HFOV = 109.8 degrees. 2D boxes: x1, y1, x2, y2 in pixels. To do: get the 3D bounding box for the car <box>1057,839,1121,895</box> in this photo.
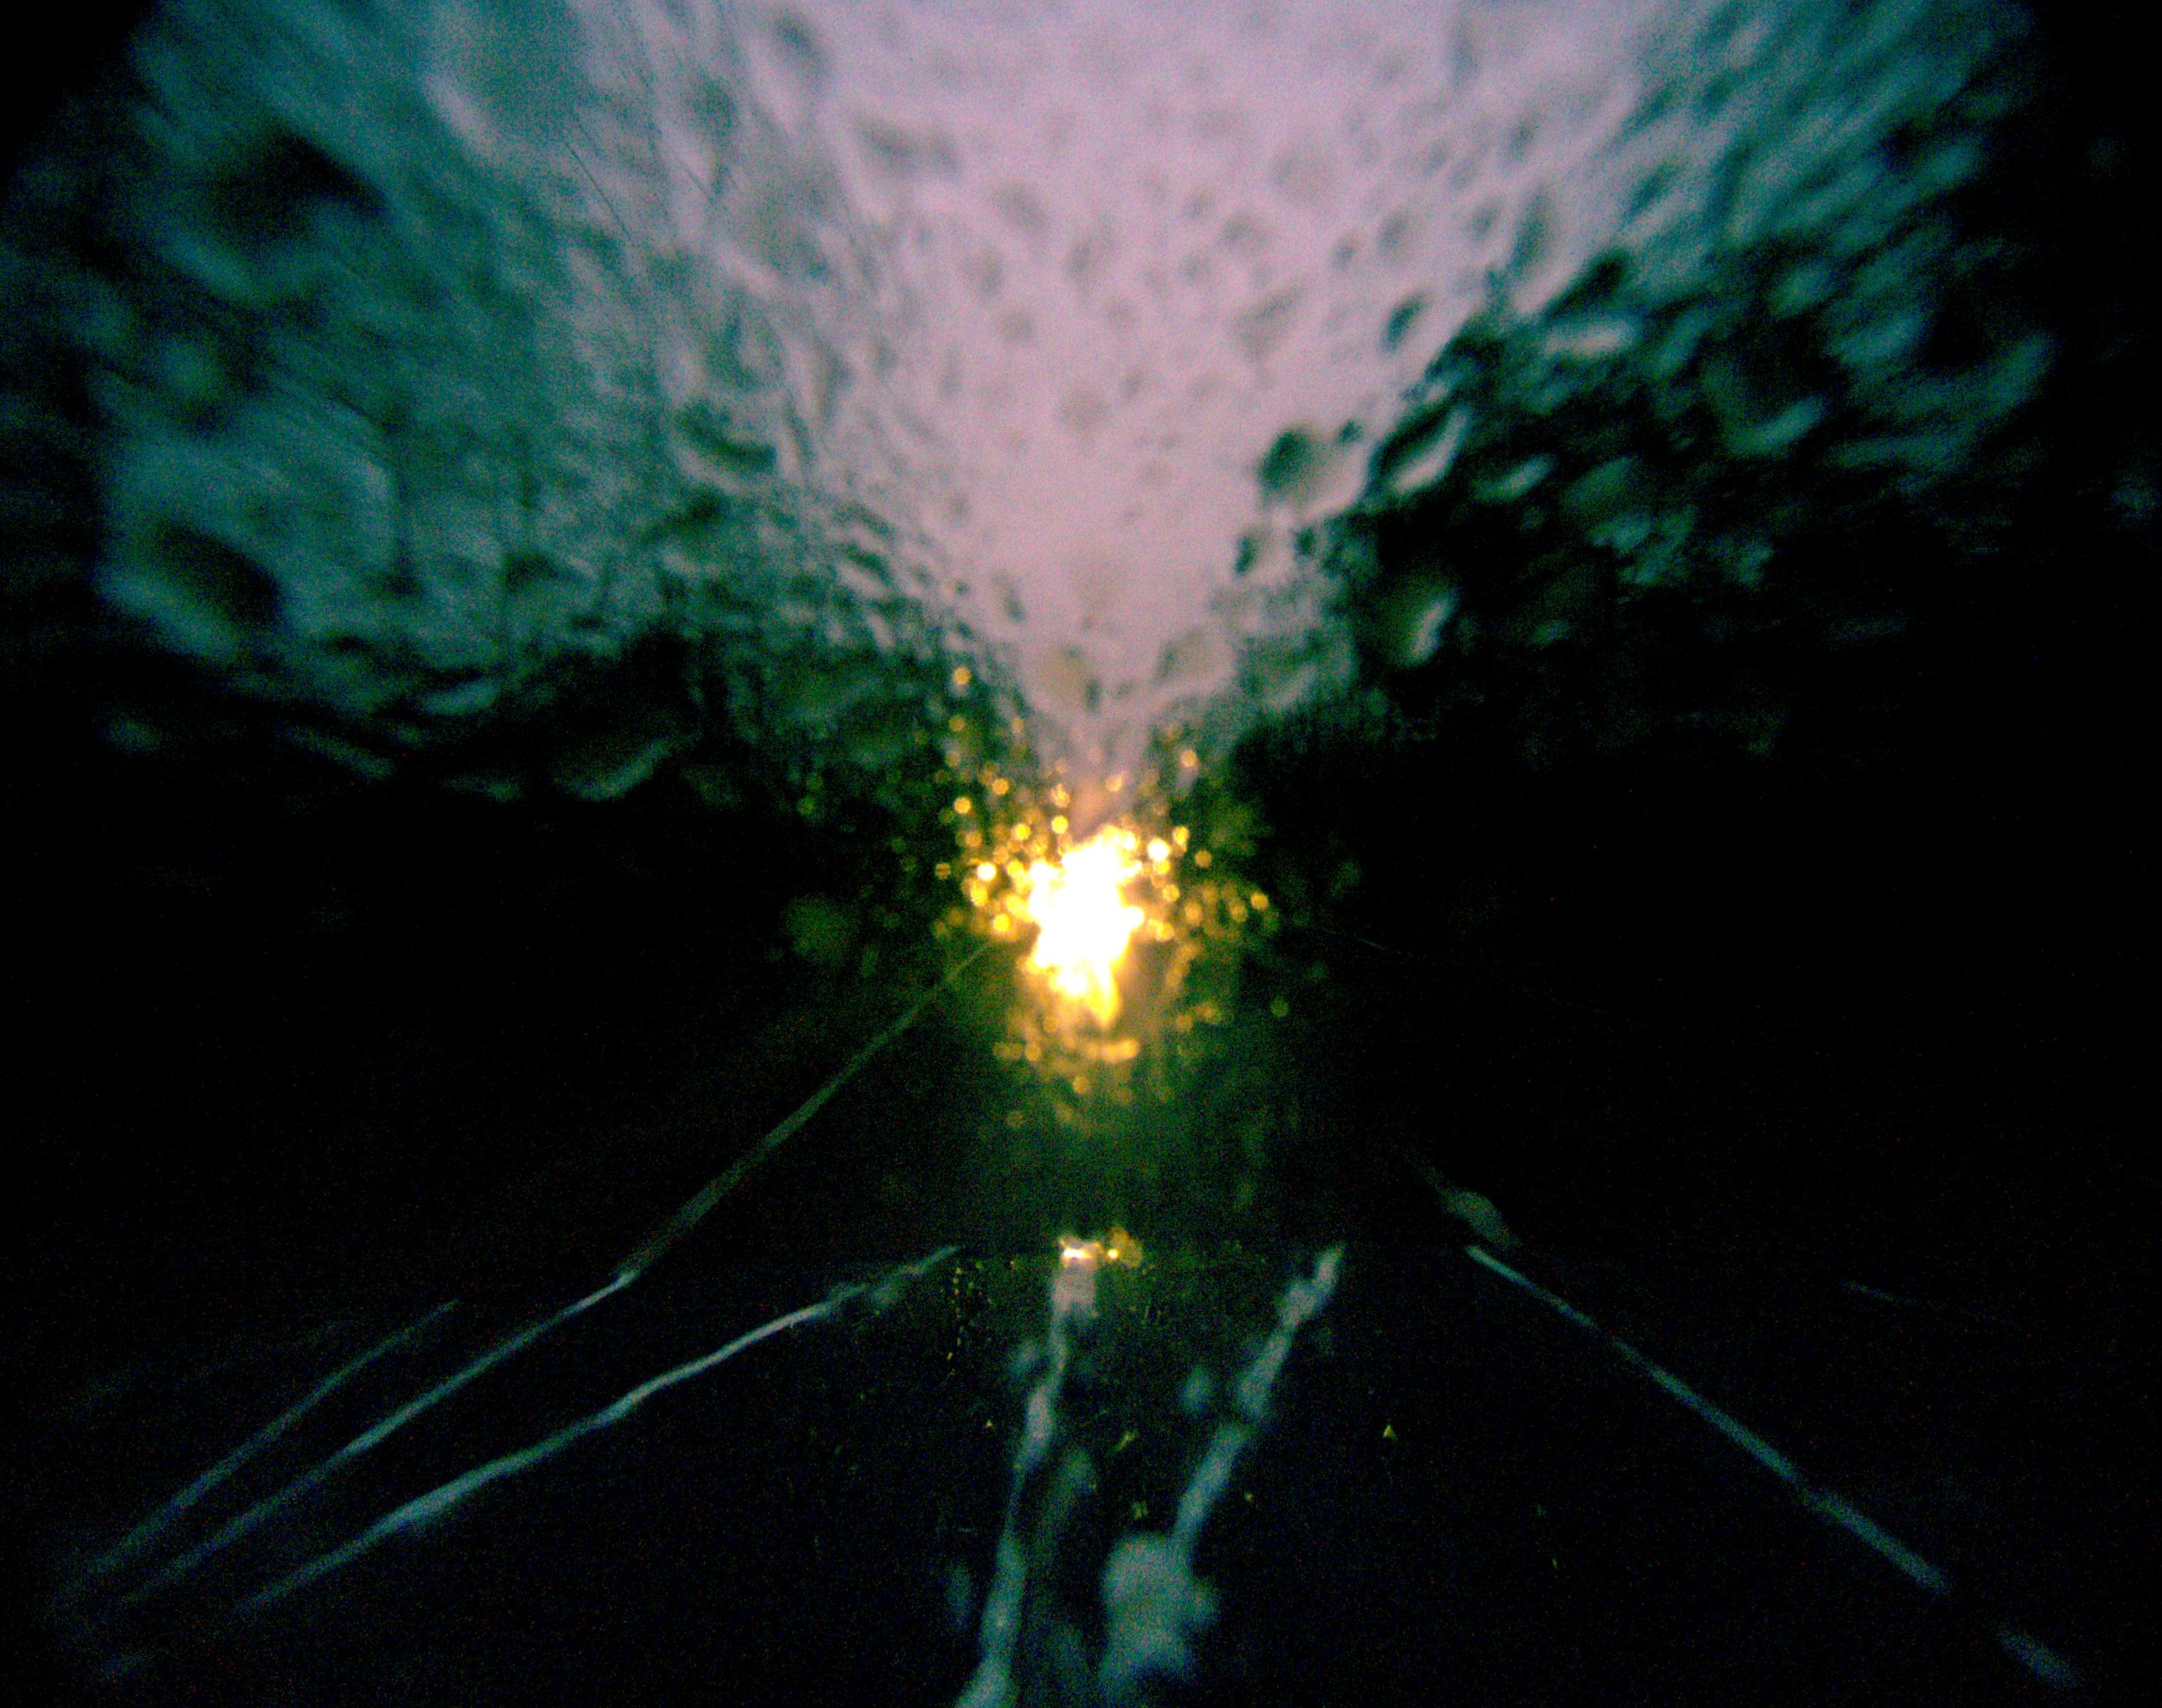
[{"bbox_3d":[0.375,0.506,34.450,2.542,2.213,6.169,-2,1,1],"label":"car"}]
